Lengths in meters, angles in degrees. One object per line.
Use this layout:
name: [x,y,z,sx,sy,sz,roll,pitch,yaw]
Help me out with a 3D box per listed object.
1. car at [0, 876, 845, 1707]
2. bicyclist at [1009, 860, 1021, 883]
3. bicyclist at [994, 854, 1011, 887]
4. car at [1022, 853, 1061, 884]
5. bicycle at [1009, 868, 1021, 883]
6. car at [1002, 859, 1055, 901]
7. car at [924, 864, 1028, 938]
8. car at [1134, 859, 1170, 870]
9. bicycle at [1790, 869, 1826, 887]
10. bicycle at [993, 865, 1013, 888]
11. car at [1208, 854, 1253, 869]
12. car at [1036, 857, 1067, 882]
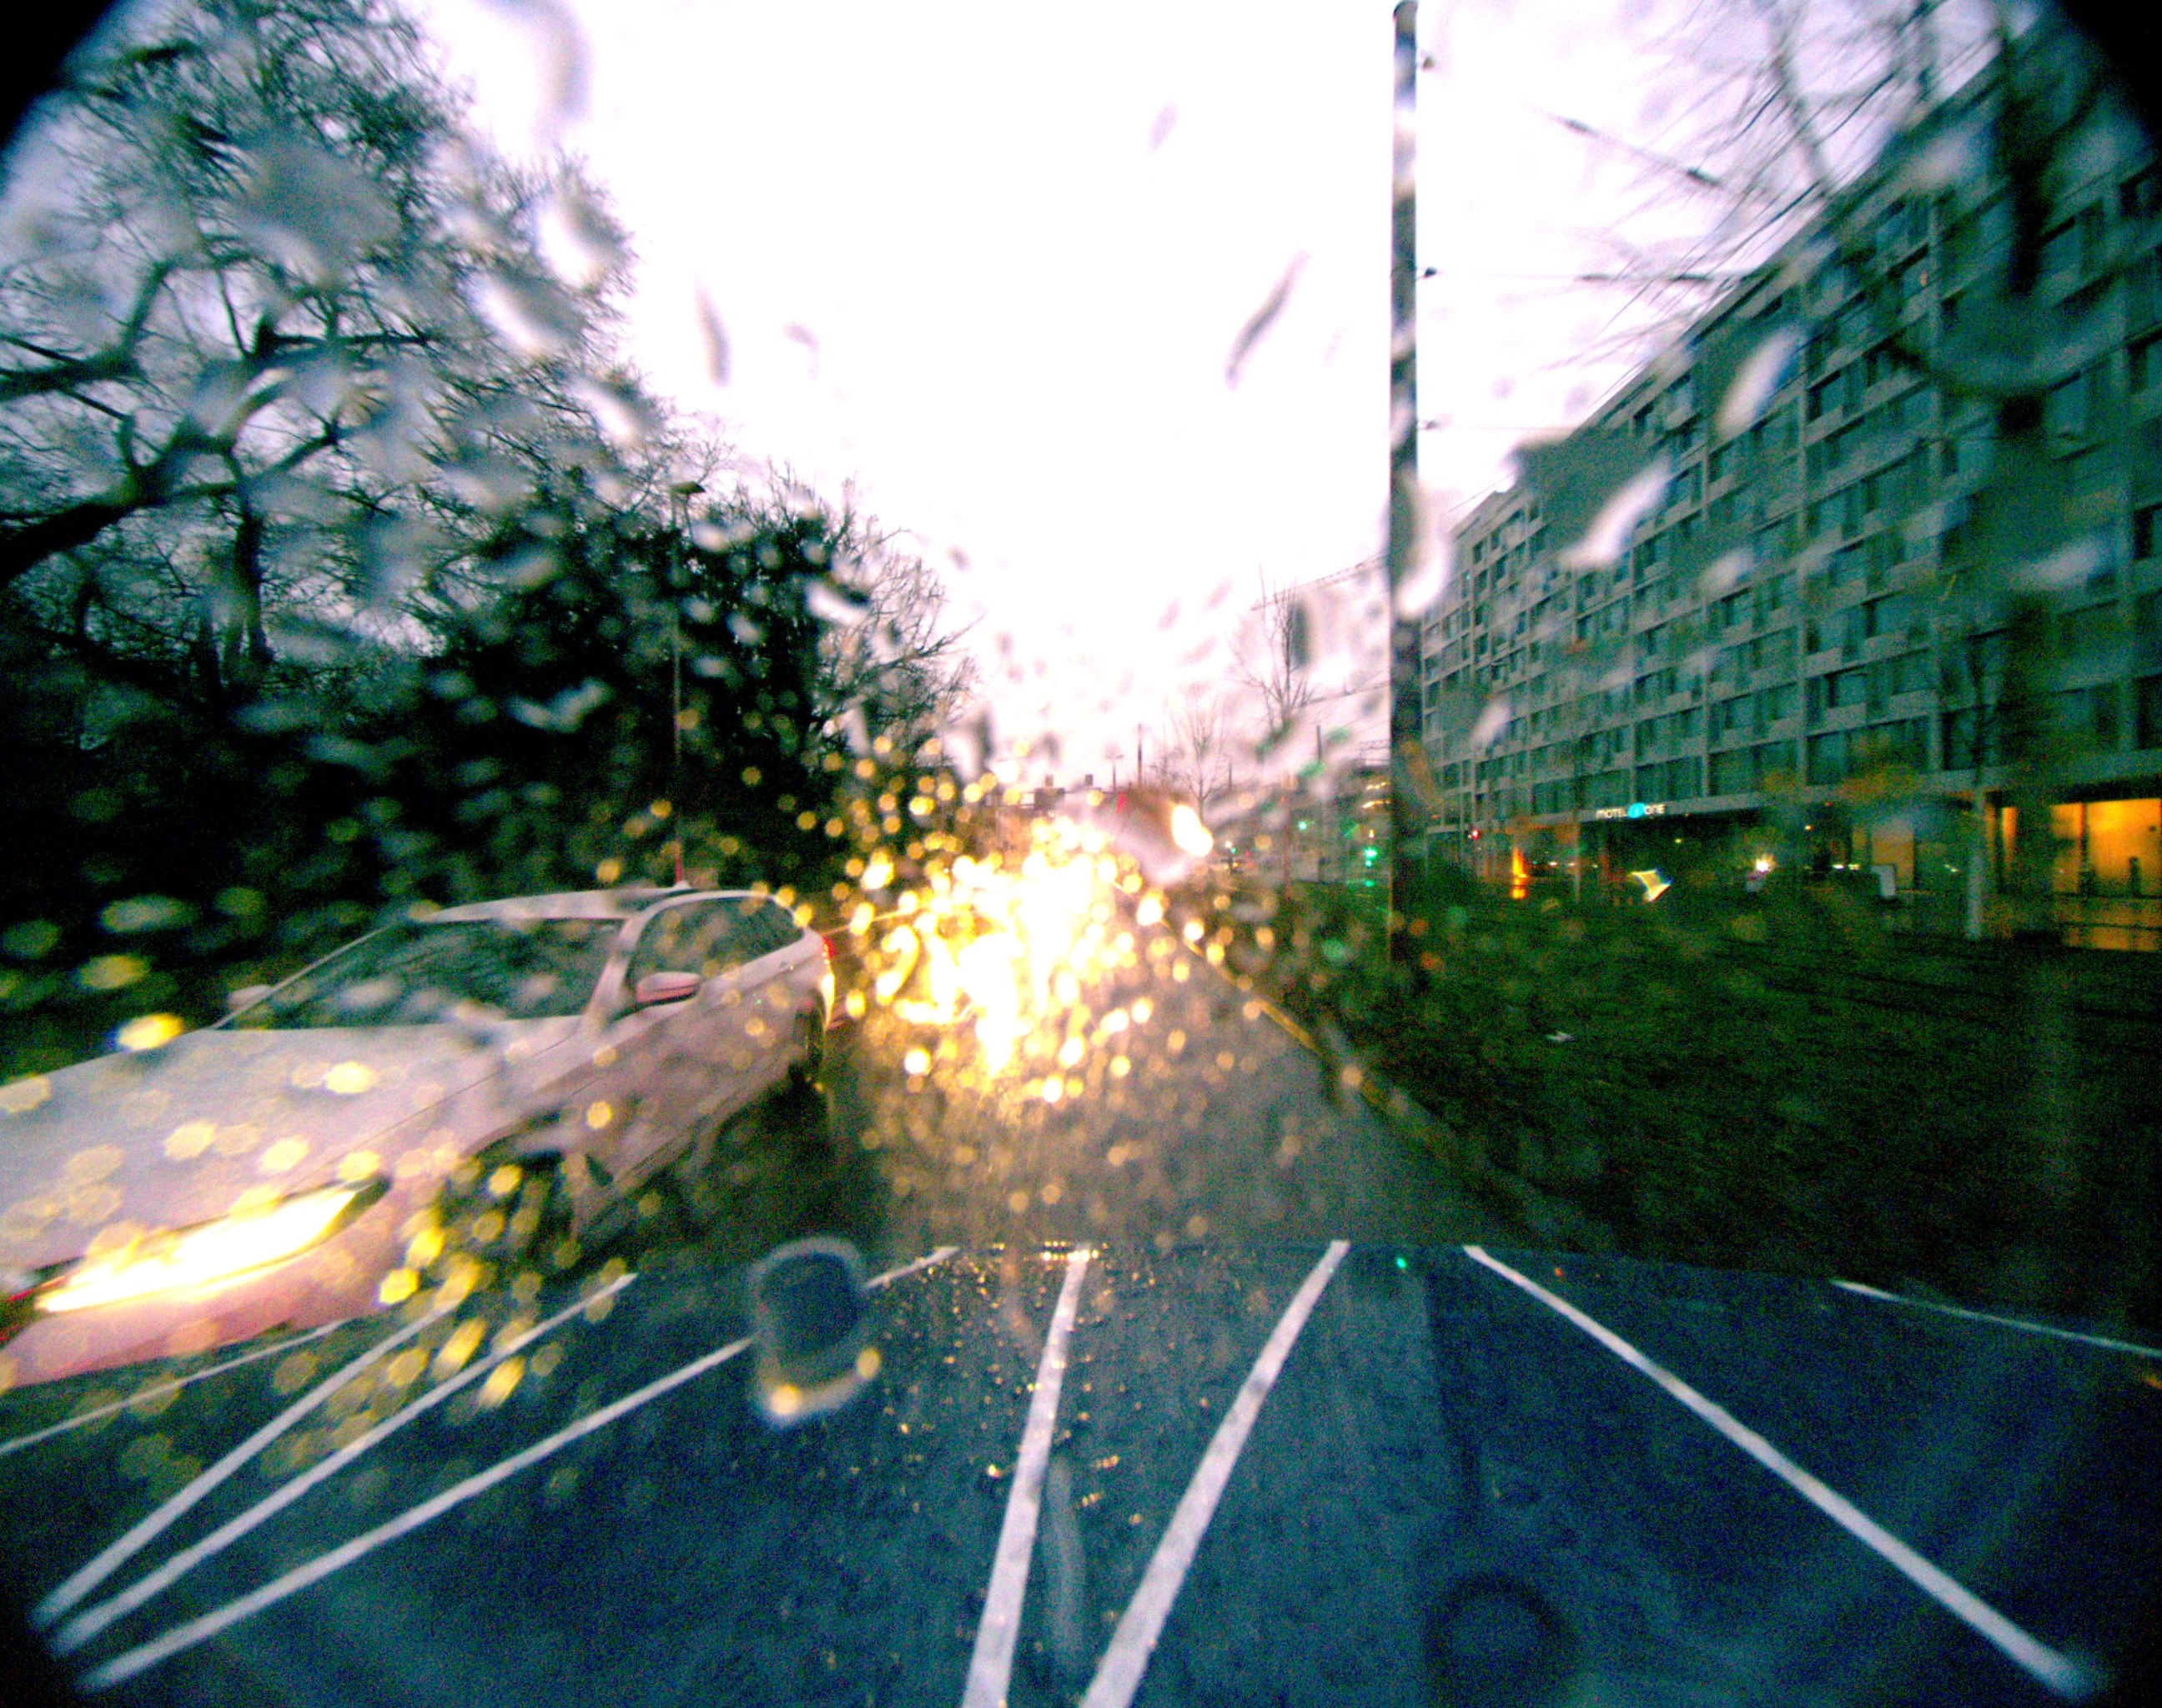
car: [-2.812,0.950,3.779,1.867,1.546,4.937,0,0,-2]
bicyclist: [-4.798,1.257,55.282,0.691,1.675,0.593,-2,1,1]
bicyclist: [-5.326,1.104,51.822,0.968,2.210,0.935,-2,1,-1]
car: [-2.354,0.811,44.726,2.074,1.618,4.266,-2,0,-4]
bicycle: [-4.791,1.568,55.272,0.691,1.036,1.721,-2,0,1]
car: [-2.267,1.099,33.852,2.073,1.618,4.267,-2,0,-1]
car: [-2.440,1.052,18.626,1.886,1.552,4.171,0,0,1]
car: [8.571,1.261,92.034,3.990,1.300,1.821,0,0,23]
bicycle: [36.305,1.188,37.942,1.349,0.849,0.465,-2,1,-1]
bicycle: [-5.294,1.491,51.669,0.968,1.442,3.389,-2,0,-1]
car: [16.591,0.805,84.766,2.092,1.659,5.031,0,0,-31]
car: [-2.170,1.127,56.216,1.998,1.618,4.268,-2,0,1]
